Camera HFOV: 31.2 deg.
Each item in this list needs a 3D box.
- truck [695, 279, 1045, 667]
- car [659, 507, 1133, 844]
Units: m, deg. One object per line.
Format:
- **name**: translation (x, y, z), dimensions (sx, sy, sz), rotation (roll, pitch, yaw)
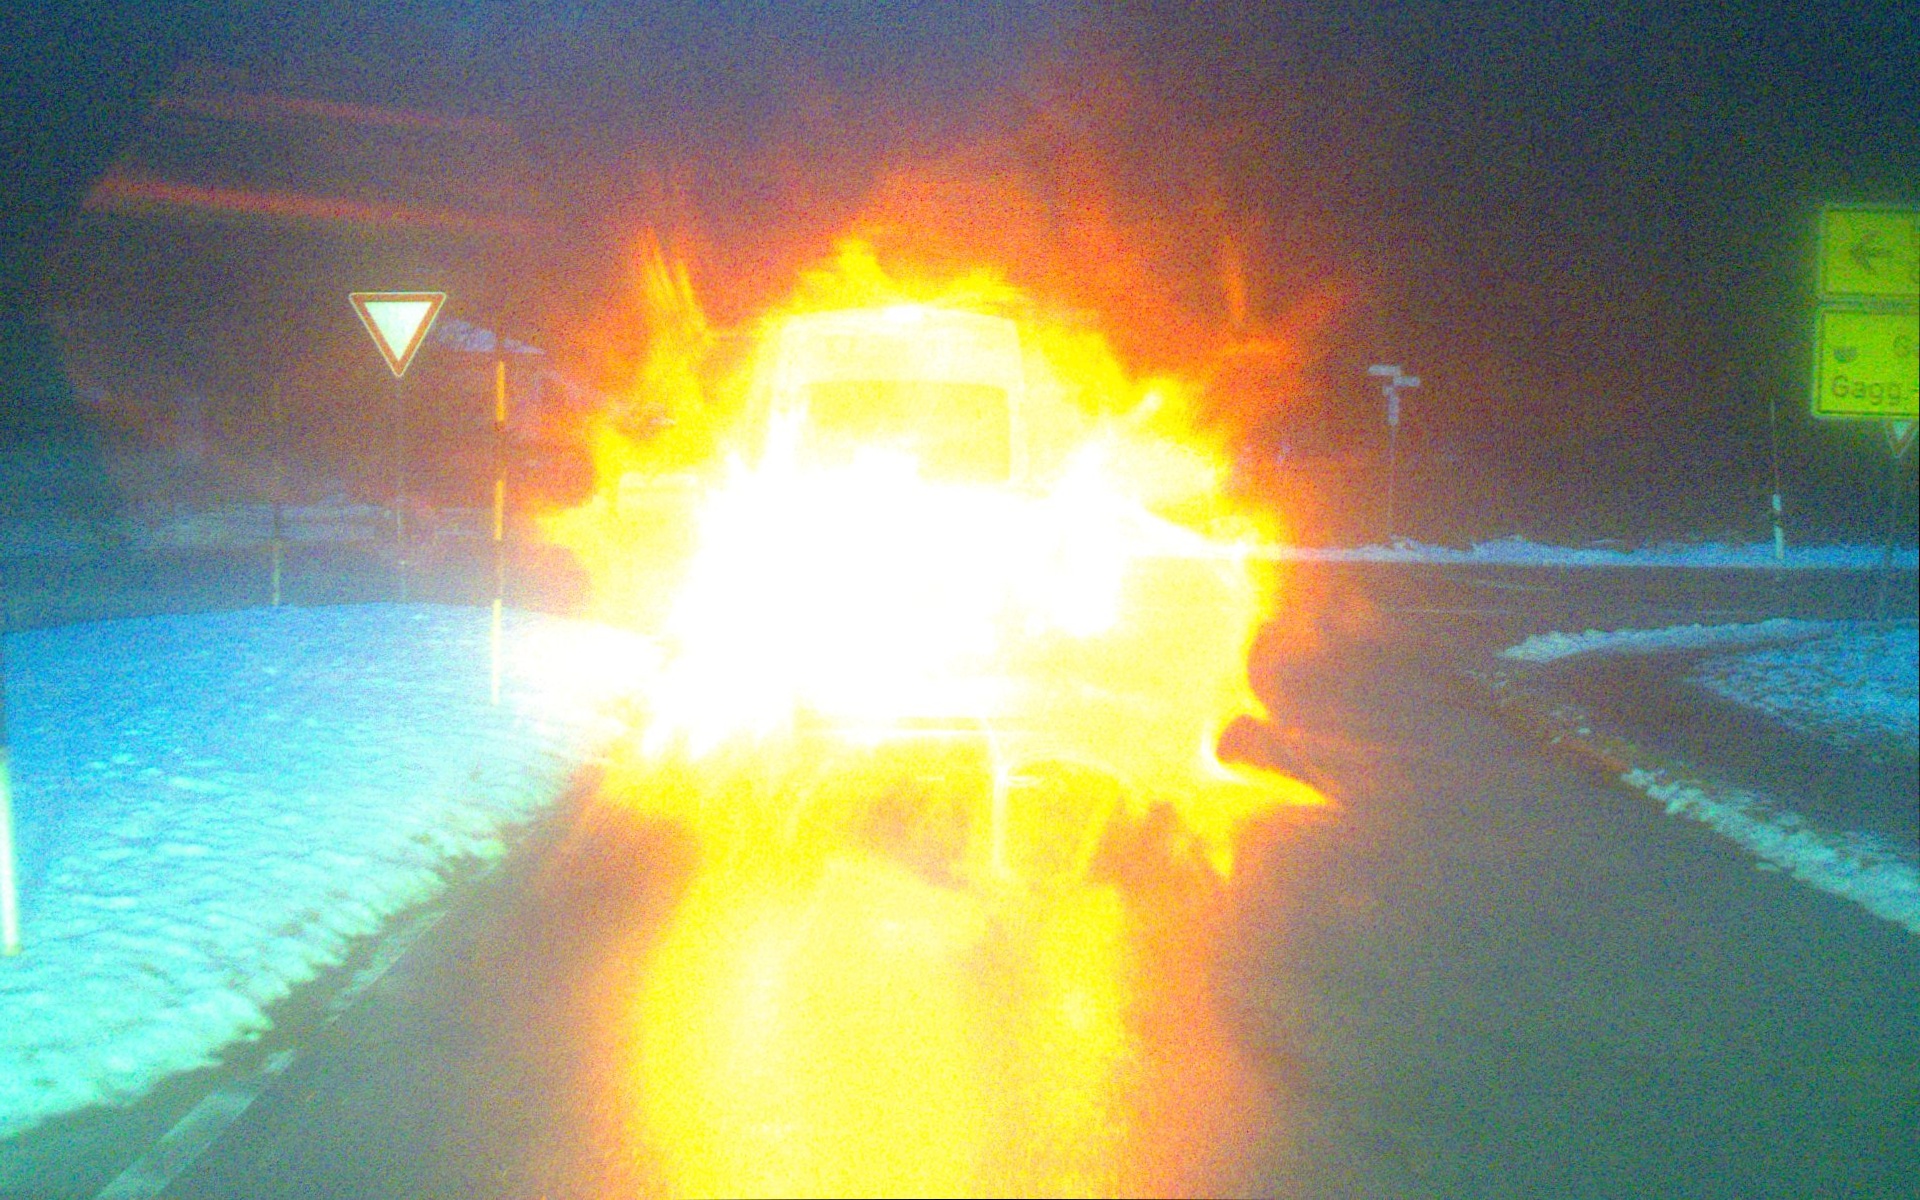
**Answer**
- **truck**: translation (-0.849, -0.987, 27.504), dimensions (2.075, 2.736, 5.321), rotation (2, 1, -9)
- **car**: translation (-0.299, 0.259, 16.175), dimensions (1.922, 1.272, 4.001), rotation (1, 3, -1)
